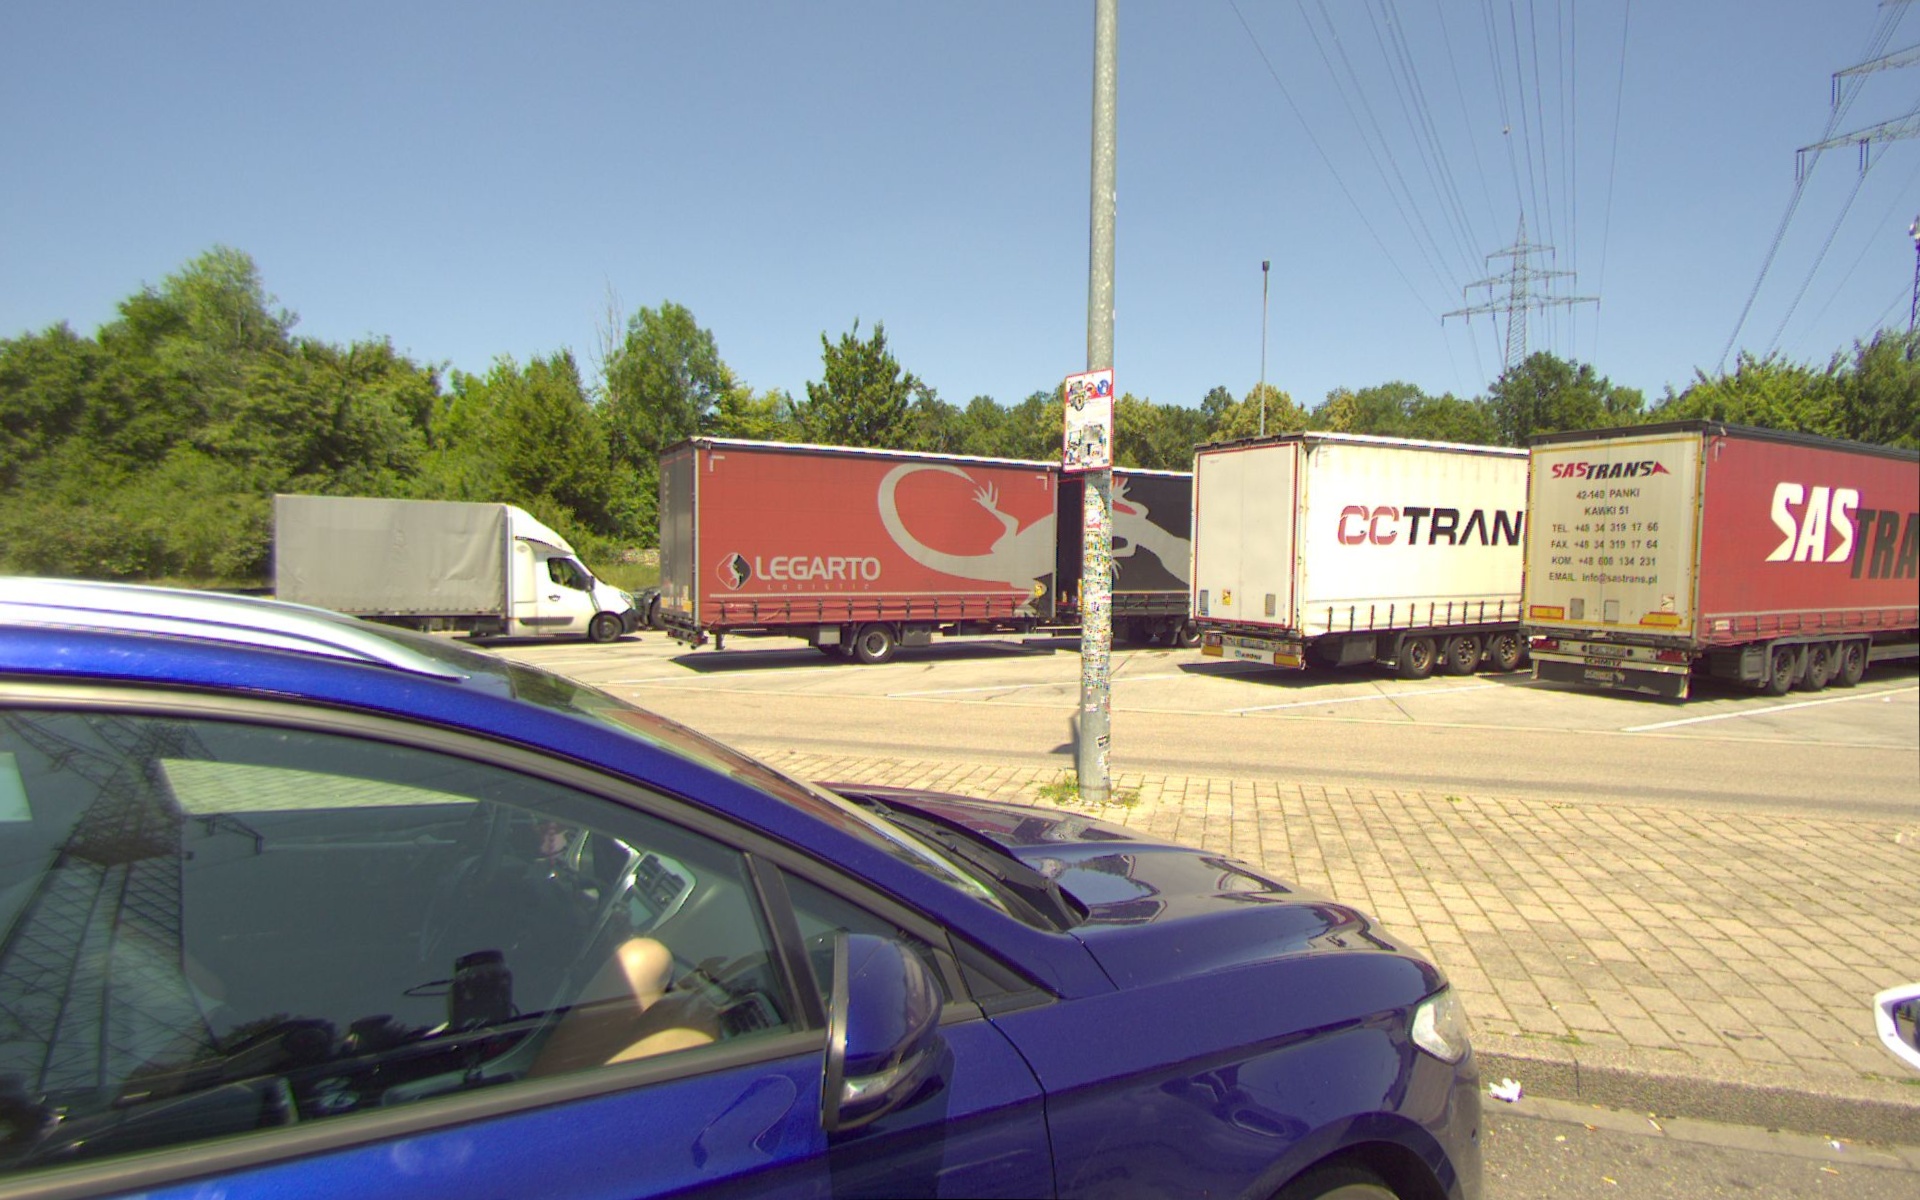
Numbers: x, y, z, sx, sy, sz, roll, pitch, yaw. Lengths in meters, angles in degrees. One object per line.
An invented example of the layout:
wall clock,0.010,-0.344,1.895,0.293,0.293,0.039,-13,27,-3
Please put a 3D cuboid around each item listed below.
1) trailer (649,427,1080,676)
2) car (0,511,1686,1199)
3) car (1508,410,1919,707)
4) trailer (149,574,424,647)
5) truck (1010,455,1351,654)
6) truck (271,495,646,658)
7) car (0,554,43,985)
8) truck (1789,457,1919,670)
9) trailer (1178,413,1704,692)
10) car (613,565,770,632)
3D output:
trailer,-1.742,-0.929,20.498,8.389,4.248,2.800,-1,2,-30
car,-0.984,0.669,1.458,4.380,1.464,1.771,0,0,-32
car,15.218,-0.695,18.448,12.777,4.169,2.683,-1,3,-30
trailer,-15.948,0.243,24.173,5.332,1.617,1.585,0,0,-30
truck,5.604,-1.079,24.822,8.683,4.248,2.800,-1,2,-30
truck,-11.113,-0.584,22.867,7.219,3.277,2.308,-2,3,-29
car,-4.610,0.556,2.109,3.700,1.432,1.595,0,0,-32
truck,21.143,-0.776,21.859,6.163,4.169,2.683,-1,3,-30
trailer,10.113,-0.883,20.061,12.786,4.325,2.800,-1,2,-31
car,-7.603,-0.046,28.509,3.953,1.773,1.902,0,0,-30
